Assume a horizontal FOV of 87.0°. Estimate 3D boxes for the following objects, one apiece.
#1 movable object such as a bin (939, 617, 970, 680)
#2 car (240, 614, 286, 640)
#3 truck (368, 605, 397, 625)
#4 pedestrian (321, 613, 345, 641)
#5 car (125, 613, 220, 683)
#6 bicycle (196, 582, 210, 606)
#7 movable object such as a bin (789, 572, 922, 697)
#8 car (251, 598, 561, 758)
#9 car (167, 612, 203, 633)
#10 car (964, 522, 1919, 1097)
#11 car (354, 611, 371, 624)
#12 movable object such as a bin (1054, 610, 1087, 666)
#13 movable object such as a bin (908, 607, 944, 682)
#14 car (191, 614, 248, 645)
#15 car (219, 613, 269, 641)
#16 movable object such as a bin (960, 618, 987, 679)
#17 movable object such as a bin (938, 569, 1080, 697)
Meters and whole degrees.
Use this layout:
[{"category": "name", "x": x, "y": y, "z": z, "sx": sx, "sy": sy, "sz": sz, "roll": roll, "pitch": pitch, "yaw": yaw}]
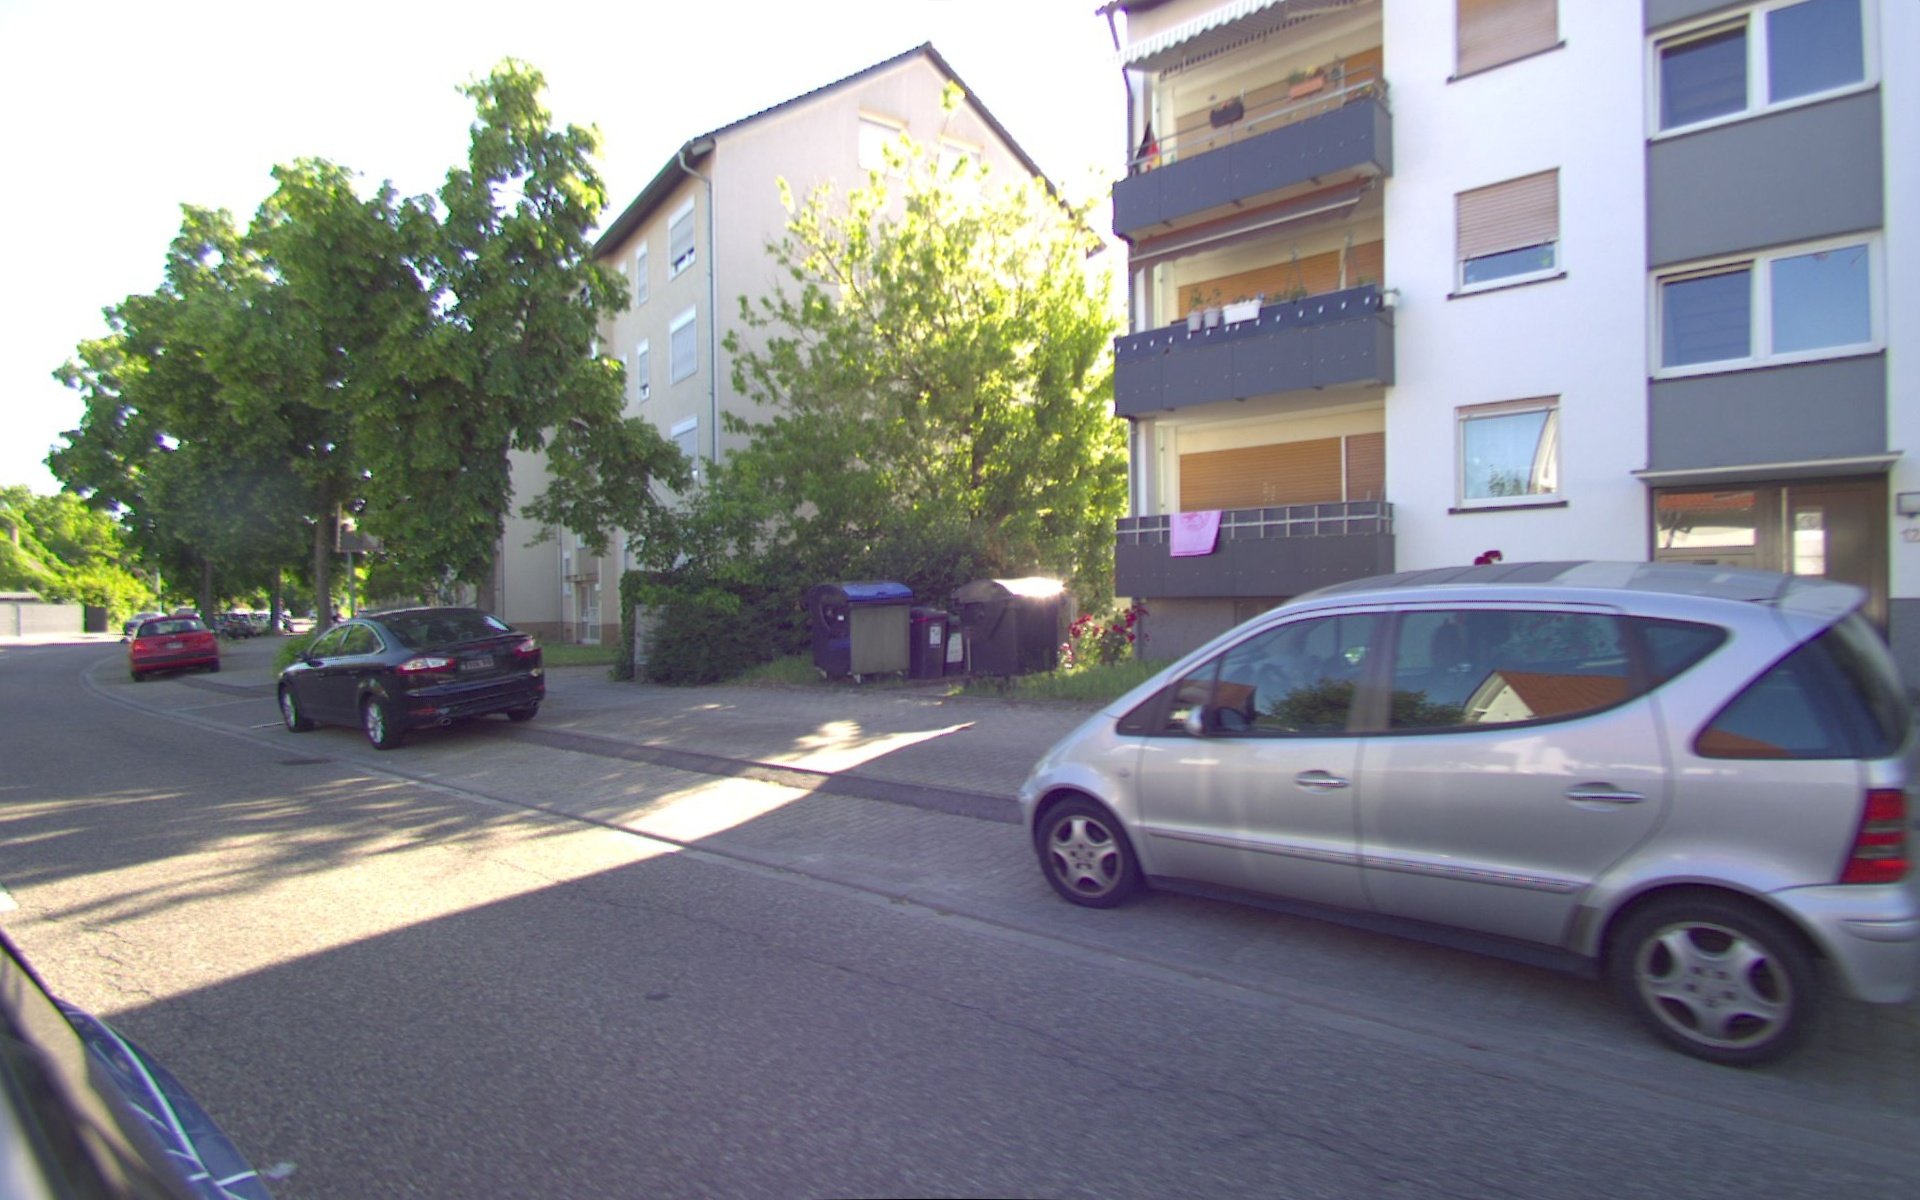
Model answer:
[{"category": "movable object such as a bin", "x": -0.087, "y": 0.733, "z": 15.352, "sx": 0.269, "sy": 0.927, "sz": 0.389, "roll": -1, "pitch": 0, "yaw": 41}, {"category": "car", "x": -42.614, "y": 1.661, "z": 61.918, "sx": 1.624, "sy": 1.551, "sz": 3.716, "roll": 0, "pitch": -2, "yaw": -24}, {"category": "truck", "x": -70.770, "y": 1.809, "z": 124.168, "sx": 2.373, "sy": 2.385, "sz": 4.540, "roll": 0, "pitch": -1, "yaw": -20}, {"category": "pedestrian", "x": -36.543, "y": 1.562, "z": 58.990, "sx": 0.946, "sy": 1.641, "sz": 0.734, "roll": 0, "pitch": -1, "yaw": -11}, {"category": "car", "x": -19.714, "y": 1.148, "z": 25.276, "sx": 1.637, "sy": 1.505, "sz": 3.914, "roll": -4, "pitch": 2, "yaw": -40}, {"category": "bicycle", "x": -32.721, "y": -0.253, "z": 43.748, "sx": 0.352, "sy": 1.015, "sz": 1.203, "roll": -1, "pitch": -1, "yaw": -32}, {"category": "movable object such as a bin", "x": -1.484, "y": 0.468, "z": 14.442, "sx": 1.267, "sy": 1.675, "sz": 1.398, "roll": -2, "pitch": -1, "yaw": 42}, {"category": "car", "x": -6.990, "y": 0.851, "z": 12.568, "sx": 4.539, "sy": 1.504, "sz": 1.706, "roll": -1, "pitch": 4, "yaw": 39}, {"category": "car", "x": -60.008, "y": 1.744, "z": 78.385, "sx": 1.613, "sy": 1.590, "sz": 3.715, "roll": 0, "pitch": -2, "yaw": -28}, {"category": "car", "x": 2.073, "y": 0.587, "z": 4.691, "sx": 3.908, "sy": 1.604, "sz": 1.704, "roll": -1, "pitch": 5, "yaw": 43}, {"category": "car", "x": -73.516, "y": 2.143, "z": 124.559, "sx": 1.521, "sy": 1.476, "sz": 3.715, "roll": 0, "pitch": -2, "yaw": -28}, {"category": "movable object such as a bin", "x": 1.870, "y": 0.634, "z": 17.183, "sx": 0.372, "sy": 0.927, "sz": 0.410, "roll": -1, "pitch": 0, "yaw": 41}, {"category": "movable object such as a bin", "x": -0.504, "y": 0.644, "z": 14.957, "sx": 0.350, "sy": 1.082, "sz": 0.369, "roll": -1, "pitch": 0, "yaw": 41}, {"category": "car", "x": -39.207, "y": 1.562, "z": 53.652, "sx": 1.624, "sy": 1.551, "sz": 3.716, "roll": 0, "pitch": -2, "yaw": -24}, {"category": "car", "x": -41.157, "y": 1.575, "z": 58.231, "sx": 1.624, "sy": 1.551, "sz": 3.716, "roll": 0, "pitch": -2, "yaw": -24}, {"category": "movable object such as a bin", "x": 0.210, "y": 0.742, "z": 15.694, "sx": 0.256, "sy": 0.927, "sz": 0.319, "roll": -1, "pitch": 0, "yaw": 41}, {"category": "movable object such as a bin", "x": 0.636, "y": 0.411, "z": 13.193, "sx": 1.327, "sy": 1.555, "sz": 1.276, "roll": -2, "pitch": -1, "yaw": 42}]
